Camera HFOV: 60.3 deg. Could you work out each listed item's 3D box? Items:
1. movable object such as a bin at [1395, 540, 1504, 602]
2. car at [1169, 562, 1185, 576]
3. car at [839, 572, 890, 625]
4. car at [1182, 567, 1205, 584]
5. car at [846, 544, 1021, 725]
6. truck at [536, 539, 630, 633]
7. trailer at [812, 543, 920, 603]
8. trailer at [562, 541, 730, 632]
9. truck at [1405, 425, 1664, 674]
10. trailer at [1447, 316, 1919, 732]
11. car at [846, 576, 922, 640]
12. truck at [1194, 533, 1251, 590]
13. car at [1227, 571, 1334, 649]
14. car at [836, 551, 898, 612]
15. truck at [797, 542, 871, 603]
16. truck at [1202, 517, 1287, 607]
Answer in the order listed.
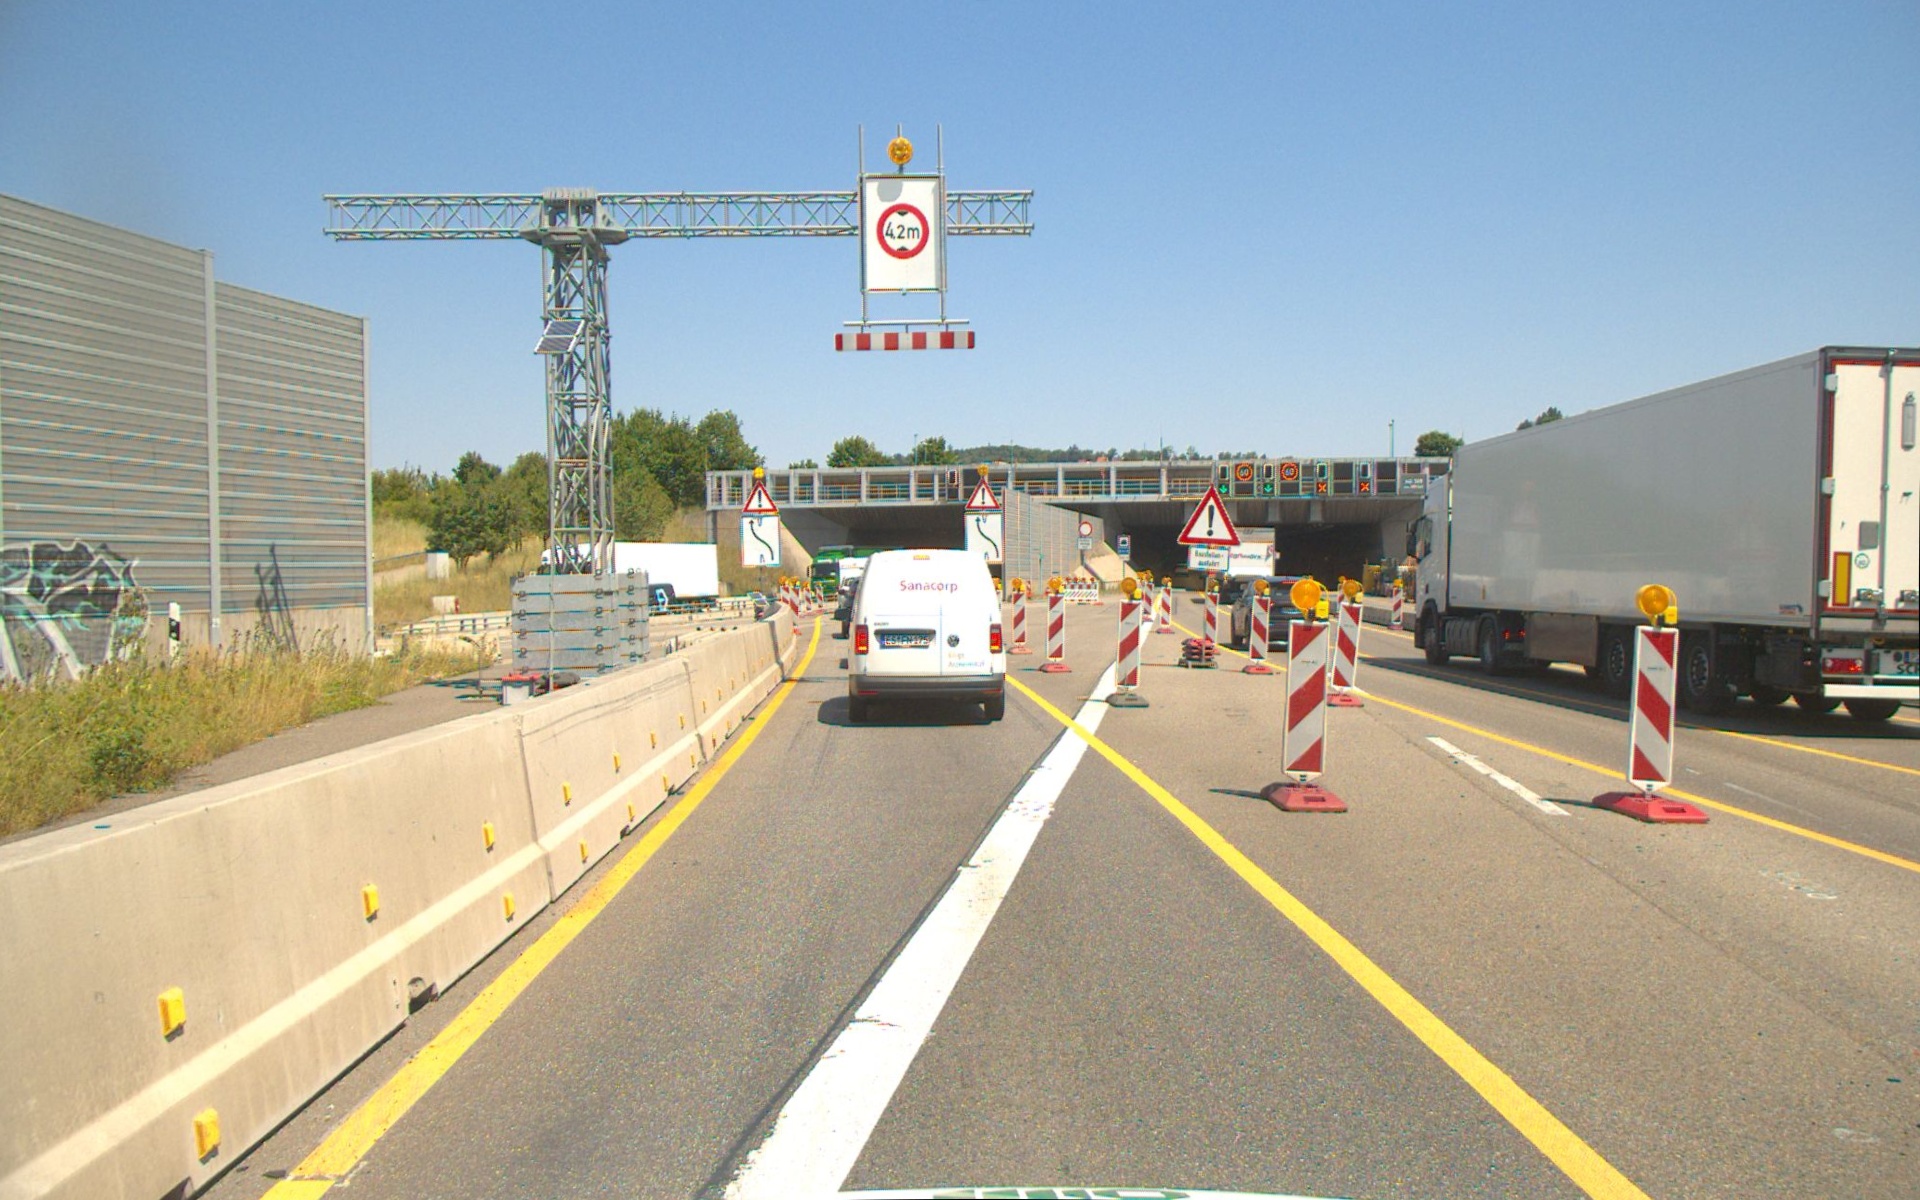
[{"bbox_3d":[27.203,-1.583,92.736,3.045,3.063,14.712,-2,0,5],"label":"movable object such as a bin"},{"bbox_3d":[27.247,-3.835,207.506,1.776,1.658,4.193,1,0,6],"label":"car"},{"bbox_3d":[-3.549,-0.082,61.167,1.773,1.846,4.407,-1,1,-3],"label":"car"},{"bbox_3d":[27.220,-2.822,193.194,2.283,1.870,4.546,1,0,4],"label":"car"},{"bbox_3d":[-0.378,0.341,19.007,1.772,1.825,3.729,-1,1,-3],"label":"car"},{"bbox_3d":[-18.909,-0.728,83.223,2.608,4.578,4.846,1,1,16],"label":"truck"},{"bbox_3d":[-7.036,-1.998,126.913,3.472,4.345,13.915,0,0,18],"label":"trailer"},{"bbox_3d":[-16.851,-0.777,90.522,2.608,4.578,14.940,1,1,16],"label":"trailer"},{"bbox_3d":[10.353,-0.860,30.492,2.689,4.103,5.926,1,0,0],"label":"truck"},{"bbox_3d":[10.334,-0.804,23.506,2.676,4.133,14.095,1,0,0],"label":"trailer"},{"bbox_3d":[-2.047,0.177,43.614,1.773,1.564,4.405,-1,1,-5],"label":"car"},{"bbox_3d":[20.364,-2.872,129.236,3.330,4.142,16.548,1,0,6],"label":"truck"},{"bbox_3d":[7.254,0.193,37.777,1.777,1.658,4.192,1,0,3],"label":"car"},{"bbox_3d":[-4.462,-0.847,80.255,2.757,2.822,7.099,0,0,-2],"label":"car"},{"bbox_3d":[-9.136,-1.962,120.531,3.472,4.345,5.782,0,0,18],"label":"truck"},{"bbox_3d":[15.379,-1.854,90.554,3.330,4.411,16.546,1,0,6],"label":"truck"}]
